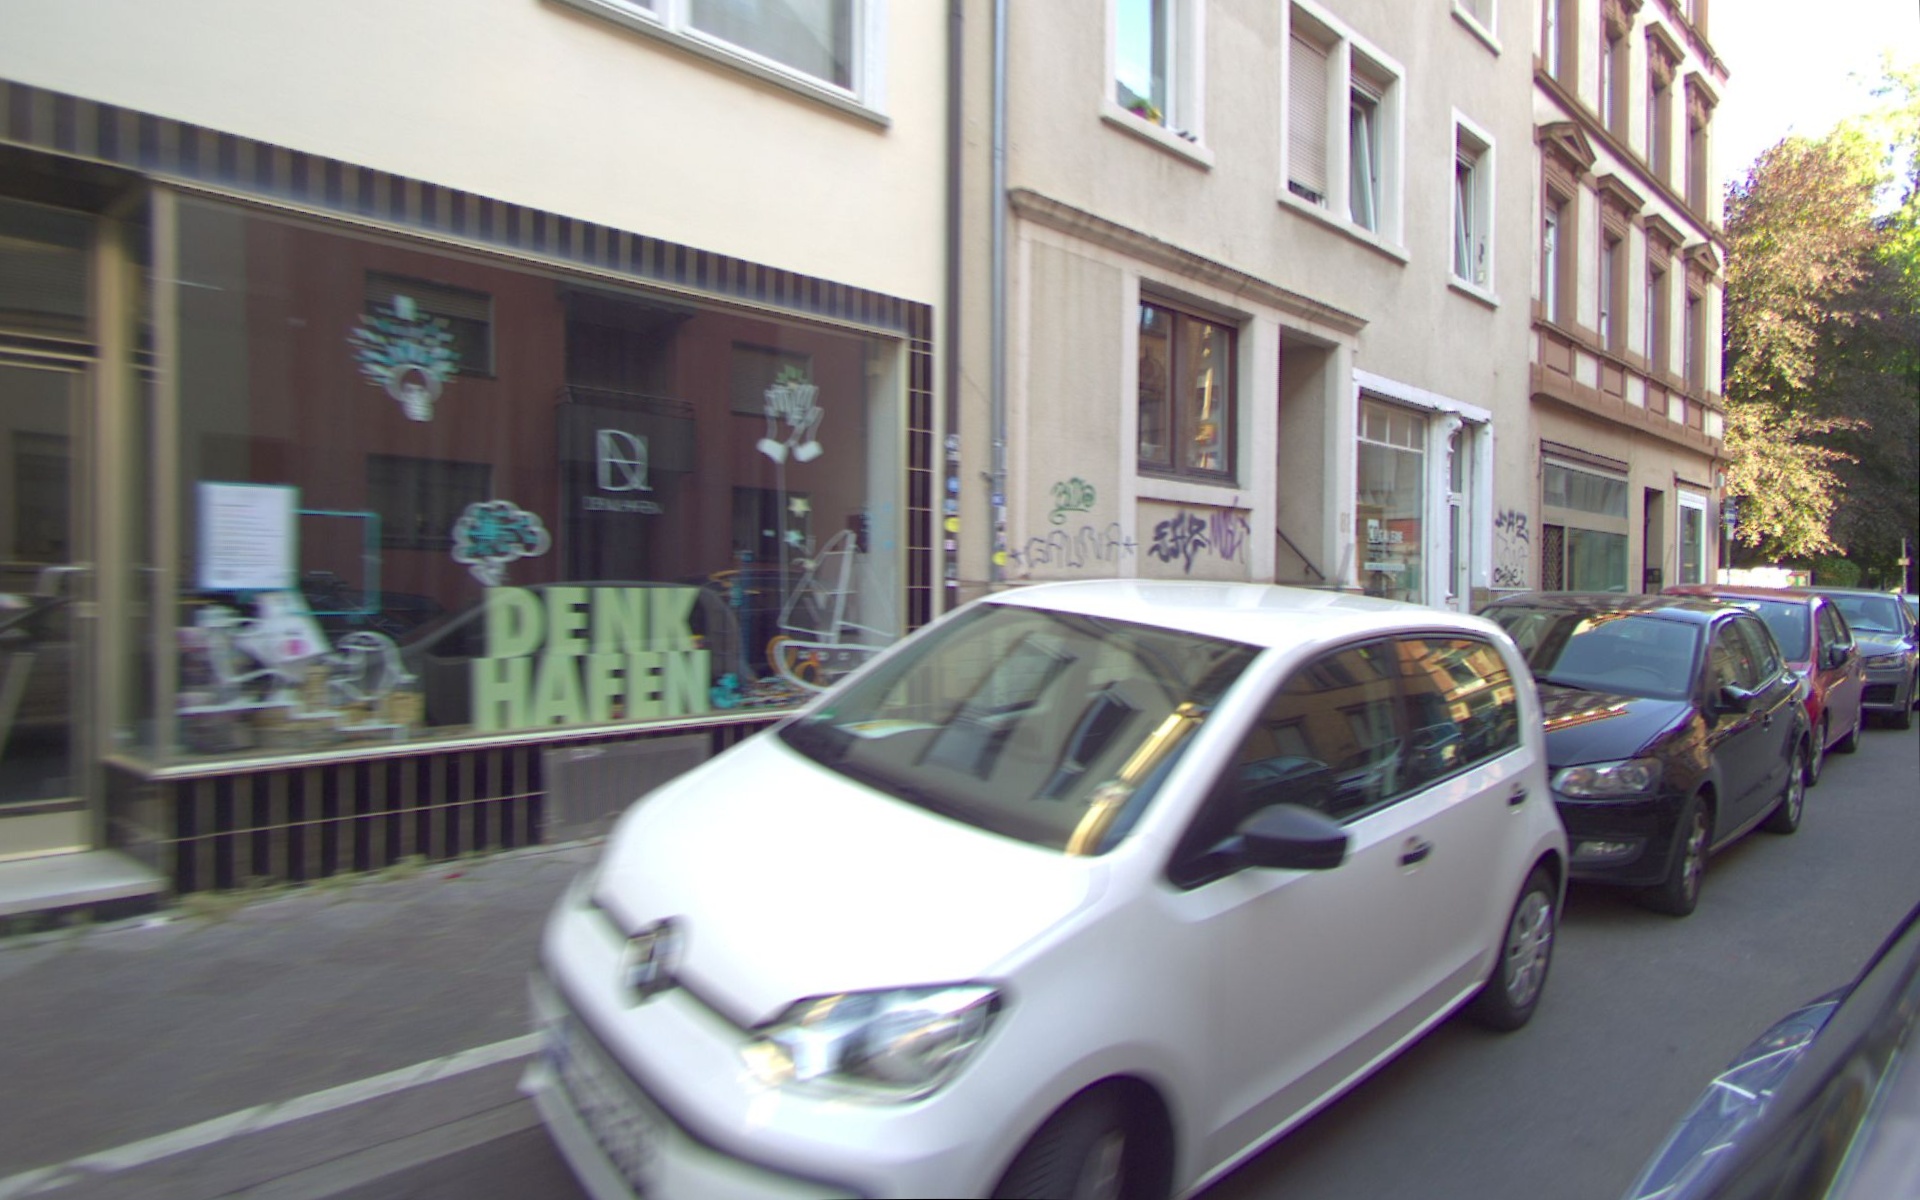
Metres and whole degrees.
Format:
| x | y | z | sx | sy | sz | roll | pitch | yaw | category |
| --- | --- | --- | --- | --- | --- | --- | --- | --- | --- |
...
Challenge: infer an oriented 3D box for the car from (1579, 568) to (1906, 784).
| x | y | z | sx | sy | sz | roll | pitch | yaw | category |
| --- | --- | --- | --- | --- | --- | --- | --- | --- | --- |
| 7.289 | 0.516 | 9.269 | 4.112 | 1.525 | 1.601 | -1 | 3 | -42 | car |

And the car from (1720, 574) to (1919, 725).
| x | y | z | sx | sy | sz | roll | pitch | yaw | category |
| --- | --- | --- | --- | --- | --- | --- | --- | --- | --- |
| 10.923 | 0.487 | 12.482 | 3.953 | 1.525 | 1.746 | -1 | 3 | -43 | car |

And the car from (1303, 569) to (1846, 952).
| x | y | z | sx | sy | sz | roll | pitch | yaw | category |
| --- | --- | --- | --- | --- | --- | --- | --- | --- | --- |
| 3.842 | 0.624 | 6.047 | 3.869 | 1.525 | 1.679 | -1 | 3 | -42 | car |

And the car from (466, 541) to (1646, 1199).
| x | y | z | sx | sy | sz | roll | pitch | yaw | category |
| --- | --- | --- | --- | --- | --- | --- | --- | --- | --- |
| 0.686 | 0.630 | 3.340 | 3.869 | 1.525 | 1.679 | -1 | 3 | -42 | car |

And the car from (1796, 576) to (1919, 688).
| x | y | z | sx | sy | sz | roll | pitch | yaw | category |
| --- | --- | --- | --- | --- | --- | --- | --- | --- | --- |
| 14.669 | 0.429 | 15.860 | 4.282 | 1.525 | 1.747 | -1 | 3 | -42 | car |
